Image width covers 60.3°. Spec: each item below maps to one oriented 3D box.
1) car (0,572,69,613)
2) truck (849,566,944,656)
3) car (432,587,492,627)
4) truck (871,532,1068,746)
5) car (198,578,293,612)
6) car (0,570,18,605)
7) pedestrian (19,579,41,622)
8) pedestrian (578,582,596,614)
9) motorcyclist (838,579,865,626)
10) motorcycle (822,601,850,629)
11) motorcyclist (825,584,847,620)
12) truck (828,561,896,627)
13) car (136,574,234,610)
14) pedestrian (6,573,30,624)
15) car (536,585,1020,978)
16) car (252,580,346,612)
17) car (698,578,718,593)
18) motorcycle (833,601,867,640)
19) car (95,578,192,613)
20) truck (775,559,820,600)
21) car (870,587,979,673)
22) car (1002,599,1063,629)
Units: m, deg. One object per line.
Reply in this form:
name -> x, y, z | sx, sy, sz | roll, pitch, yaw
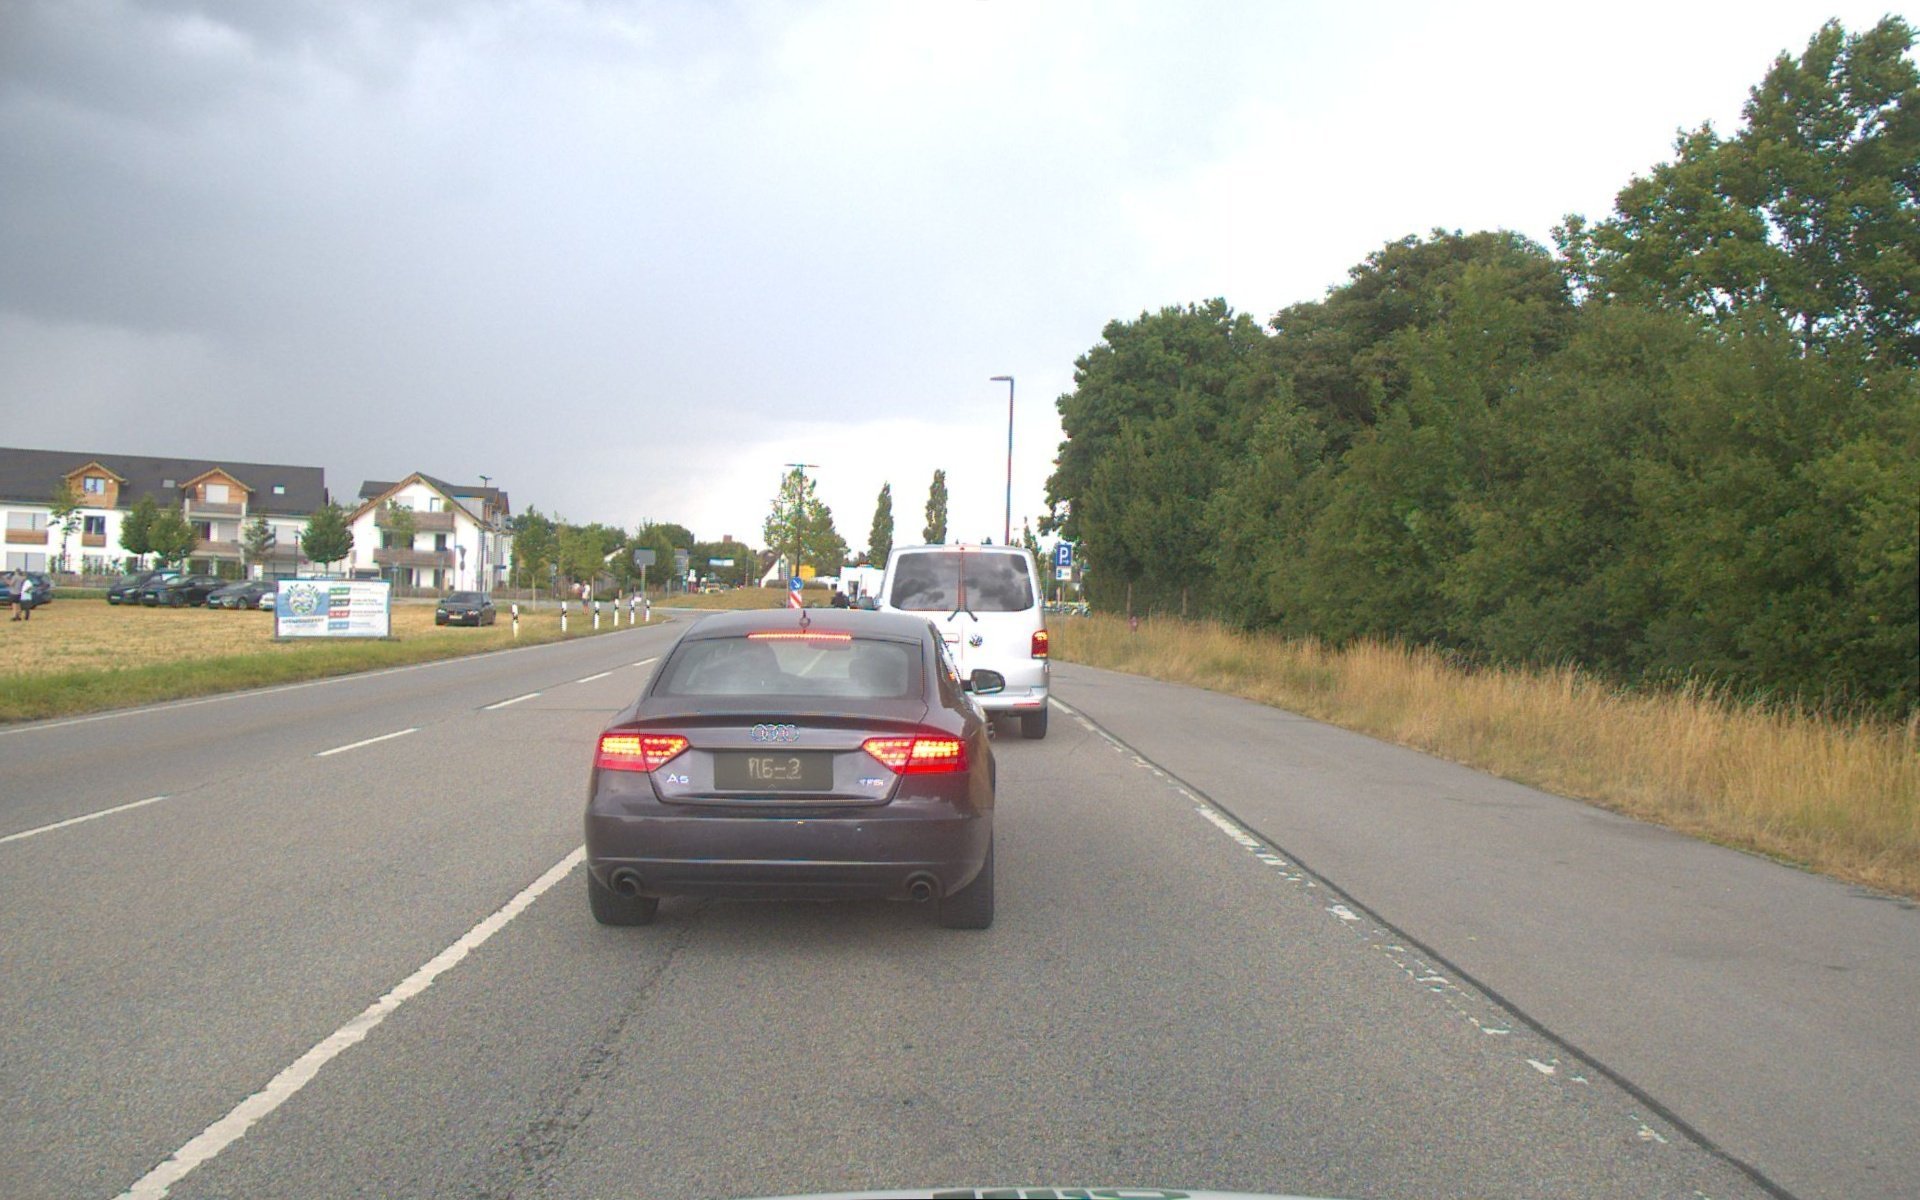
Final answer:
car -> -41.855, -0.357, 72.541 | 4.649, 1.727, 1.987 | 1, 0, -22
truck -> -1.522, 0.253, 40.985 | 2.149, 2.049, 5.084 | 1, 0, -1
car -> -20.196, 0.249, 67.193 | 1.958, 1.467, 3.989 | 2, 1, -12
truck -> 0.059, 0.364, 18.409 | 1.865, 2.033, 4.627 | 1, 0, -1
car -> -34.521, -0.226, 80.029 | 1.951, 1.562, 4.214 | 1, 0, 17
car -> -50.556, -0.694, 83.874 | 4.560, 1.727, 1.987 | 1, 0, -22
pedestrian -> -34.457, 0.019, 61.259 | 0.581, 1.582, 0.622 | 1, 0, -20
pedestrian -> -18.907, -0.119, 83.810 | 0.651, 1.613, 0.693 | 2, 0, -40
motorcyclist -> -3.312, 0.072, 50.416 | 0.756, 1.407, 0.820 | 2, 0, -1
motorcycle -> -4.795, 0.577, 64.091 | 0.925, 1.037, 2.283 | 2, 0, -1
motorcyclist -> -4.778, 0.086, 64.020 | 0.770, 1.380, 0.853 | 2, 0, -2
truck -> -4.525, -0.269, 75.327 | 2.577, 2.785, 5.857 | 2, 0, -8
car -> -37.624, -0.386, 80.409 | 1.951, 1.657, 4.214 | 1, 0, 17
pedestrian -> -34.339, -0.050, 60.323 | 0.539, 1.817, 0.676 | 1, 0, -13
car -> -0.674, 0.693, 8.452 | 1.836, 1.479, 4.177 | 1, 0, 1
car -> -31.804, -0.178, 79.683 | 1.951, 1.471, 4.214 | 1, 0, 17
car -> -28.818, -1.650, 189.072 | 1.955, 1.670, 3.996 | 2, 0, -5
motorcycle -> -3.335, 0.610, 50.411 | 0.901, 1.113, 2.188 | 2, 0, -2
car -> -40.699, -0.227, 82.517 | 1.951, 1.657, 4.214 | 1, 0, 17
truck -> -15.764, -1.992, 160.078 | 3.511, 3.640, 9.934 | 2, 0, -10
car -> -0.700, 0.535, 31.966 | 1.953, 1.511, 3.999 | 1, 0, -2
car -> 5.181, 0.999, 118.682 | 3.904, 2.049, 2.001 | 2, 0, 19
